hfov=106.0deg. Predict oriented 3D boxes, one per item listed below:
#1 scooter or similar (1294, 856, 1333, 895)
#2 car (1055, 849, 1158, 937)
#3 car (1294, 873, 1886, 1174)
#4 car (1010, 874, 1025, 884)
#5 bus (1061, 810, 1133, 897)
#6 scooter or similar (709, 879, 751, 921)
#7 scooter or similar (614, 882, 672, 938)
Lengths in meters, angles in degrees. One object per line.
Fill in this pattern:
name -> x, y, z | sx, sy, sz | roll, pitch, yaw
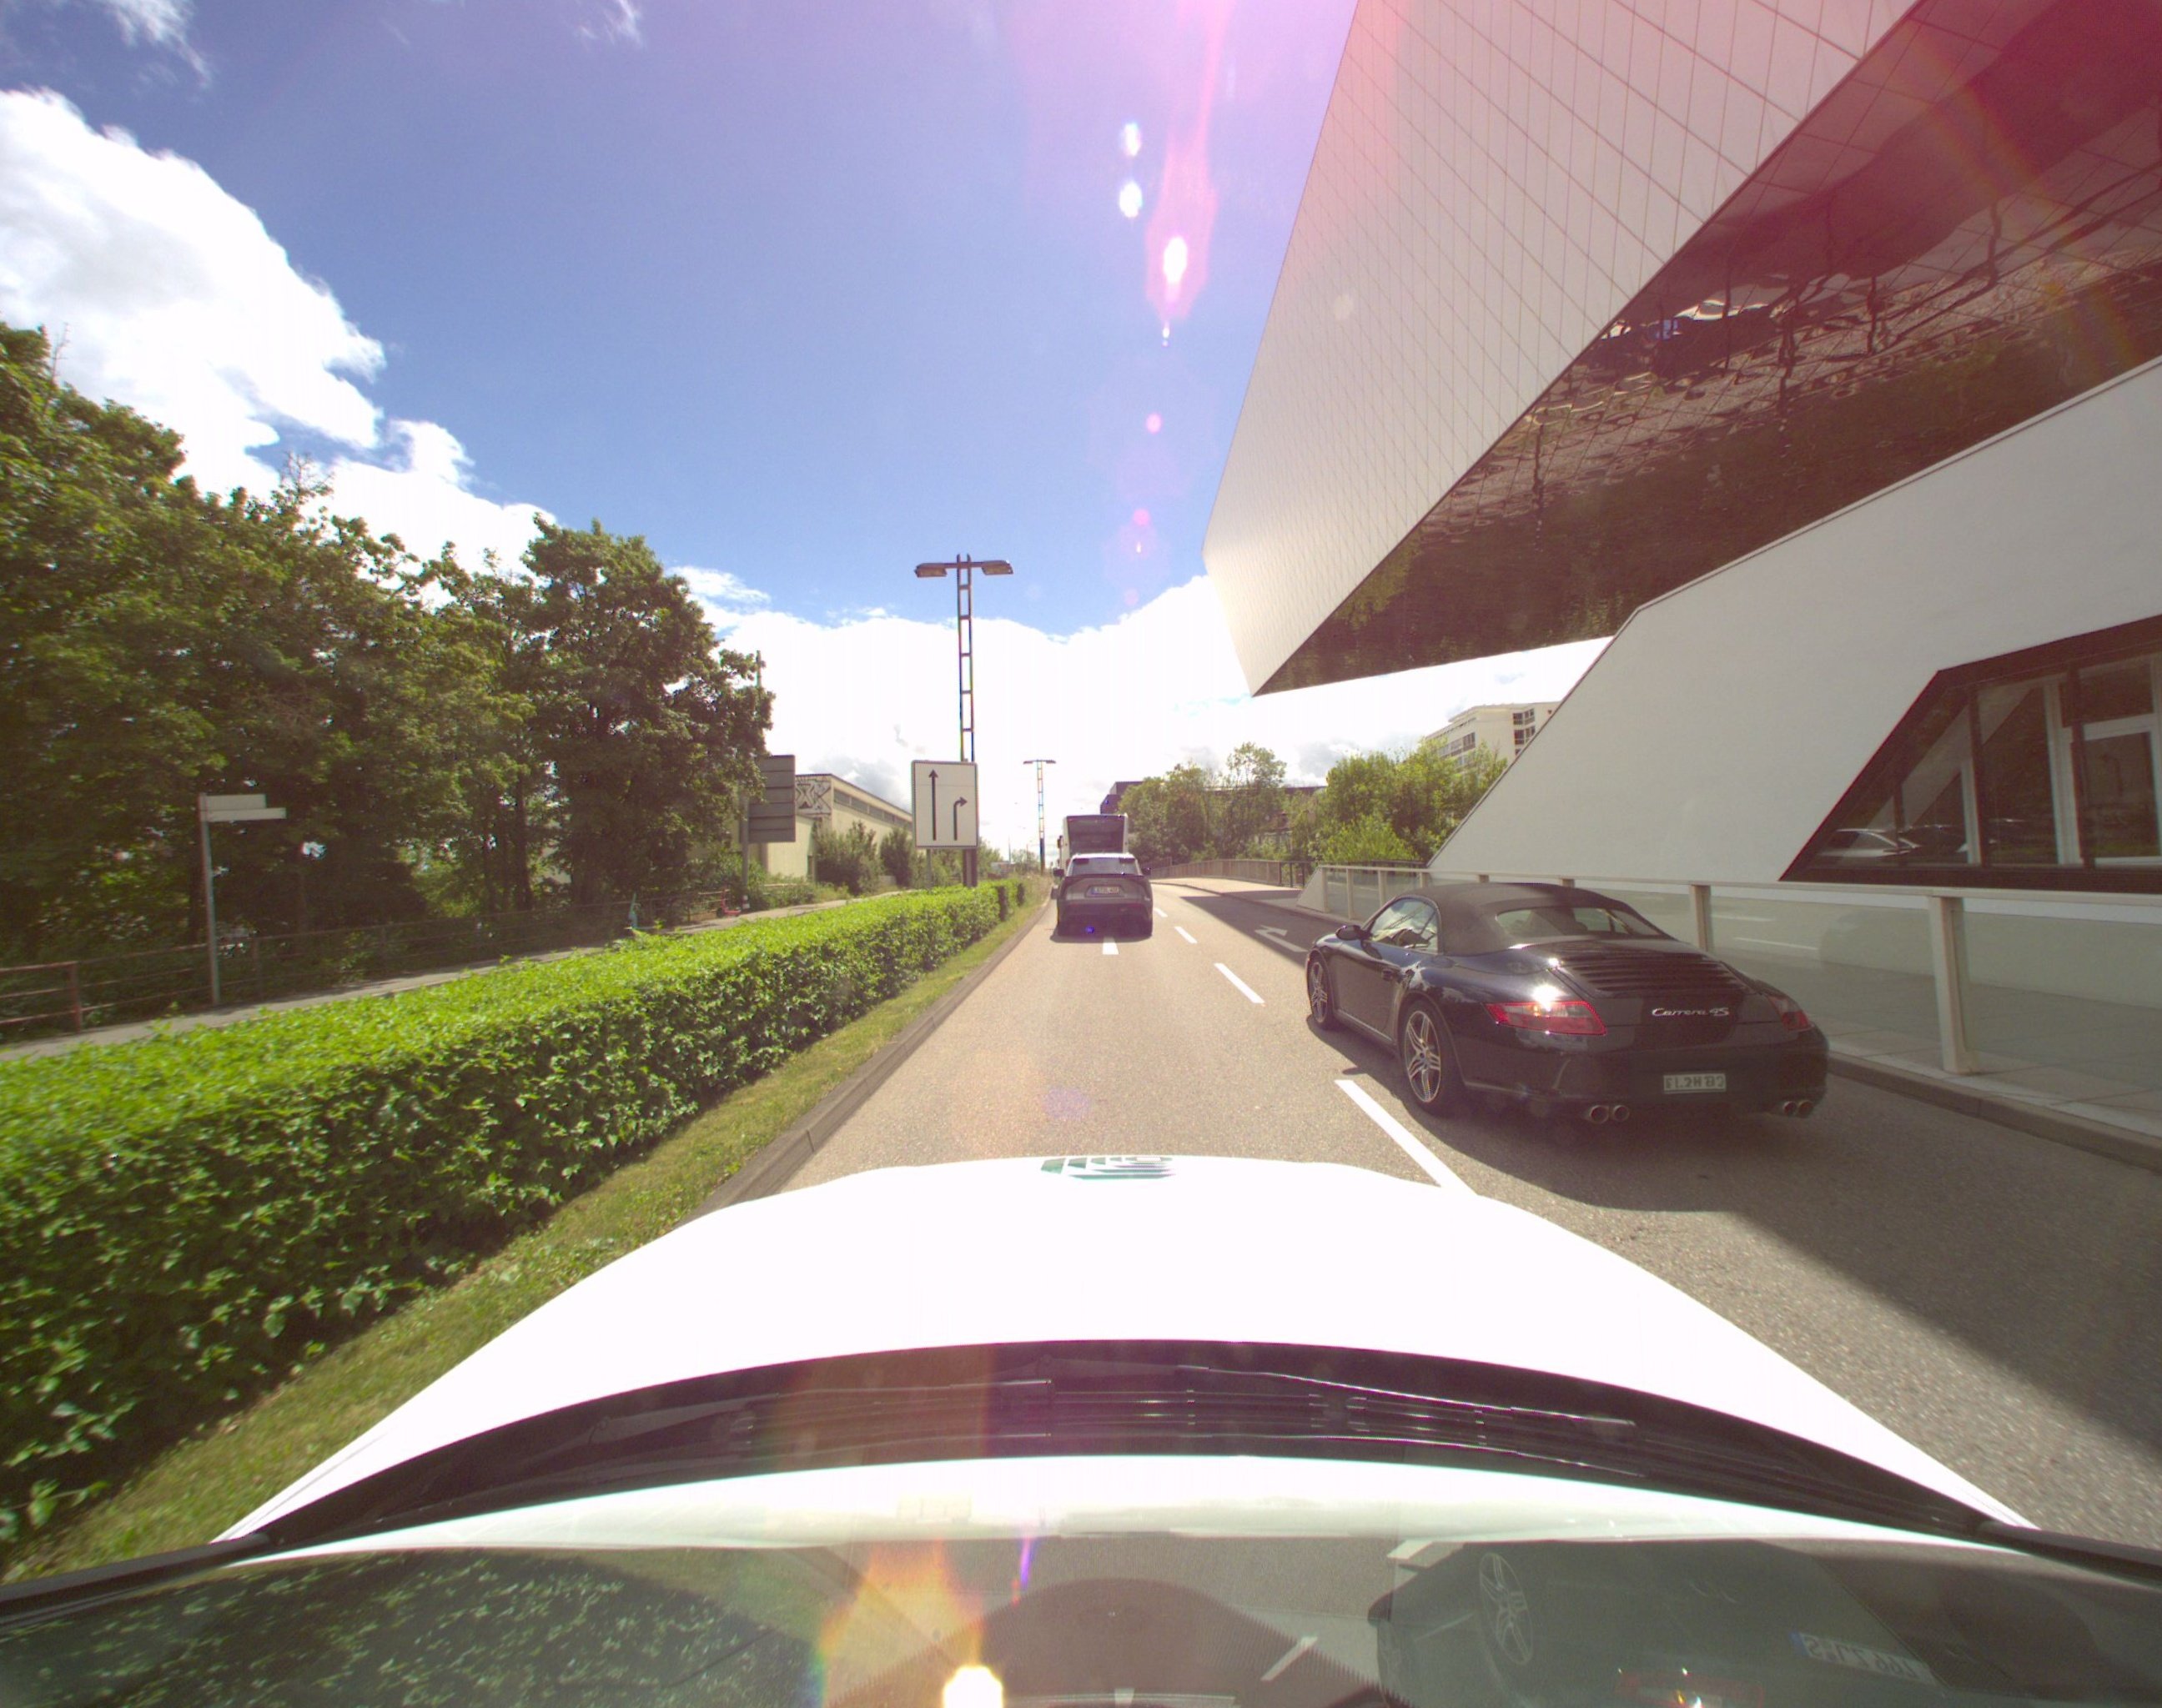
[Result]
scooter or similar -> 7.626, 0.683, 26.822 | 0.651, 1.214, 1.856 | -3, -1, -2
car -> 0.502, 0.744, 17.068 | 1.873, 1.594, 4.229 | -1, -1, 1
car -> 2.844, 0.820, 5.752 | 1.713, 1.275, 4.089 | -1, -1, 2
car -> -8.885, 3.523, 114.089 | 1.749, 1.276, 3.997 | -5, -2, -1
bus -> 0.772, -0.075, 36.948 | 2.679, 3.255, 12.061 | -1, 1, 1
scooter or similar -> -11.146, 1.449, 25.931 | 0.489, 1.216, 1.644 | -3, 0, 4
scooter or similar -> -11.046, 1.389, 20.605 | 0.489, 1.304, 1.644 | -1, 0, 4
